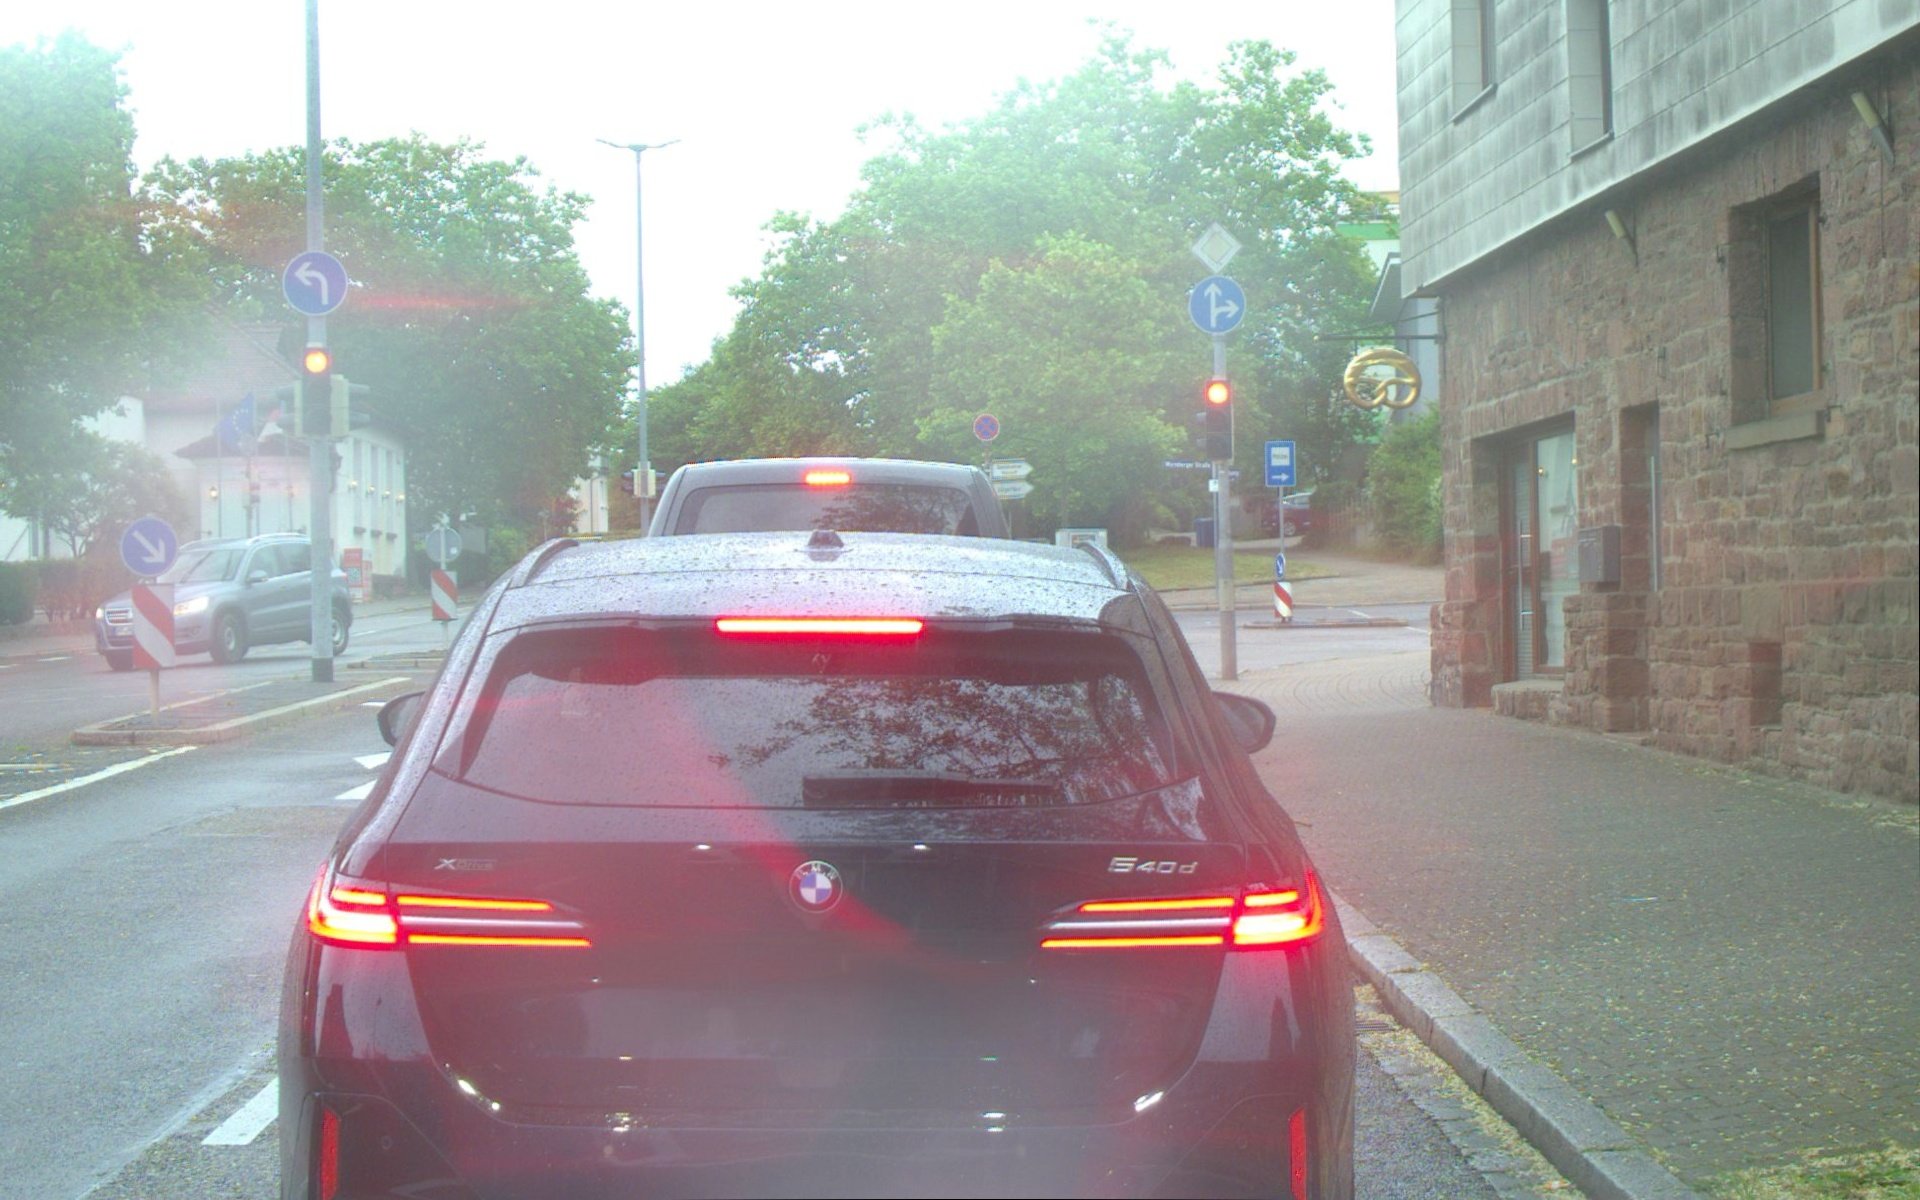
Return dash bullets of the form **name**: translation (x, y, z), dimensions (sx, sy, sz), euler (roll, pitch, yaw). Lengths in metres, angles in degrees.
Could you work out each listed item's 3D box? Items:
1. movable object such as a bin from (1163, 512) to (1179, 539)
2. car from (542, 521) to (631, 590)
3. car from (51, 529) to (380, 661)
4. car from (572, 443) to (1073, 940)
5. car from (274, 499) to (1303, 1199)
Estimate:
- **movable object such as a bin**: translation (7.065, -2.485, 115.242), dimensions (0.450, 0.902, 0.462), euler (1, 0, 15)
- **car**: translation (-9.018, -1.104, 83.314), dimensions (1.898, 1.572, 4.503), euler (-1, 2, -4)
- **car**: translation (-9.802, -0.097, 45.568), dimensions (1.911, 1.585, 4.311), euler (-1, 1, 27)
- **car**: translation (-0.615, 0.320, 14.476), dimensions (1.812, 1.802, 3.757), euler (1, 0, -4)
- **car**: translation (-0.362, 0.607, 6.902), dimensions (1.523, 1.529, 3.532), euler (1, 0, -4)
